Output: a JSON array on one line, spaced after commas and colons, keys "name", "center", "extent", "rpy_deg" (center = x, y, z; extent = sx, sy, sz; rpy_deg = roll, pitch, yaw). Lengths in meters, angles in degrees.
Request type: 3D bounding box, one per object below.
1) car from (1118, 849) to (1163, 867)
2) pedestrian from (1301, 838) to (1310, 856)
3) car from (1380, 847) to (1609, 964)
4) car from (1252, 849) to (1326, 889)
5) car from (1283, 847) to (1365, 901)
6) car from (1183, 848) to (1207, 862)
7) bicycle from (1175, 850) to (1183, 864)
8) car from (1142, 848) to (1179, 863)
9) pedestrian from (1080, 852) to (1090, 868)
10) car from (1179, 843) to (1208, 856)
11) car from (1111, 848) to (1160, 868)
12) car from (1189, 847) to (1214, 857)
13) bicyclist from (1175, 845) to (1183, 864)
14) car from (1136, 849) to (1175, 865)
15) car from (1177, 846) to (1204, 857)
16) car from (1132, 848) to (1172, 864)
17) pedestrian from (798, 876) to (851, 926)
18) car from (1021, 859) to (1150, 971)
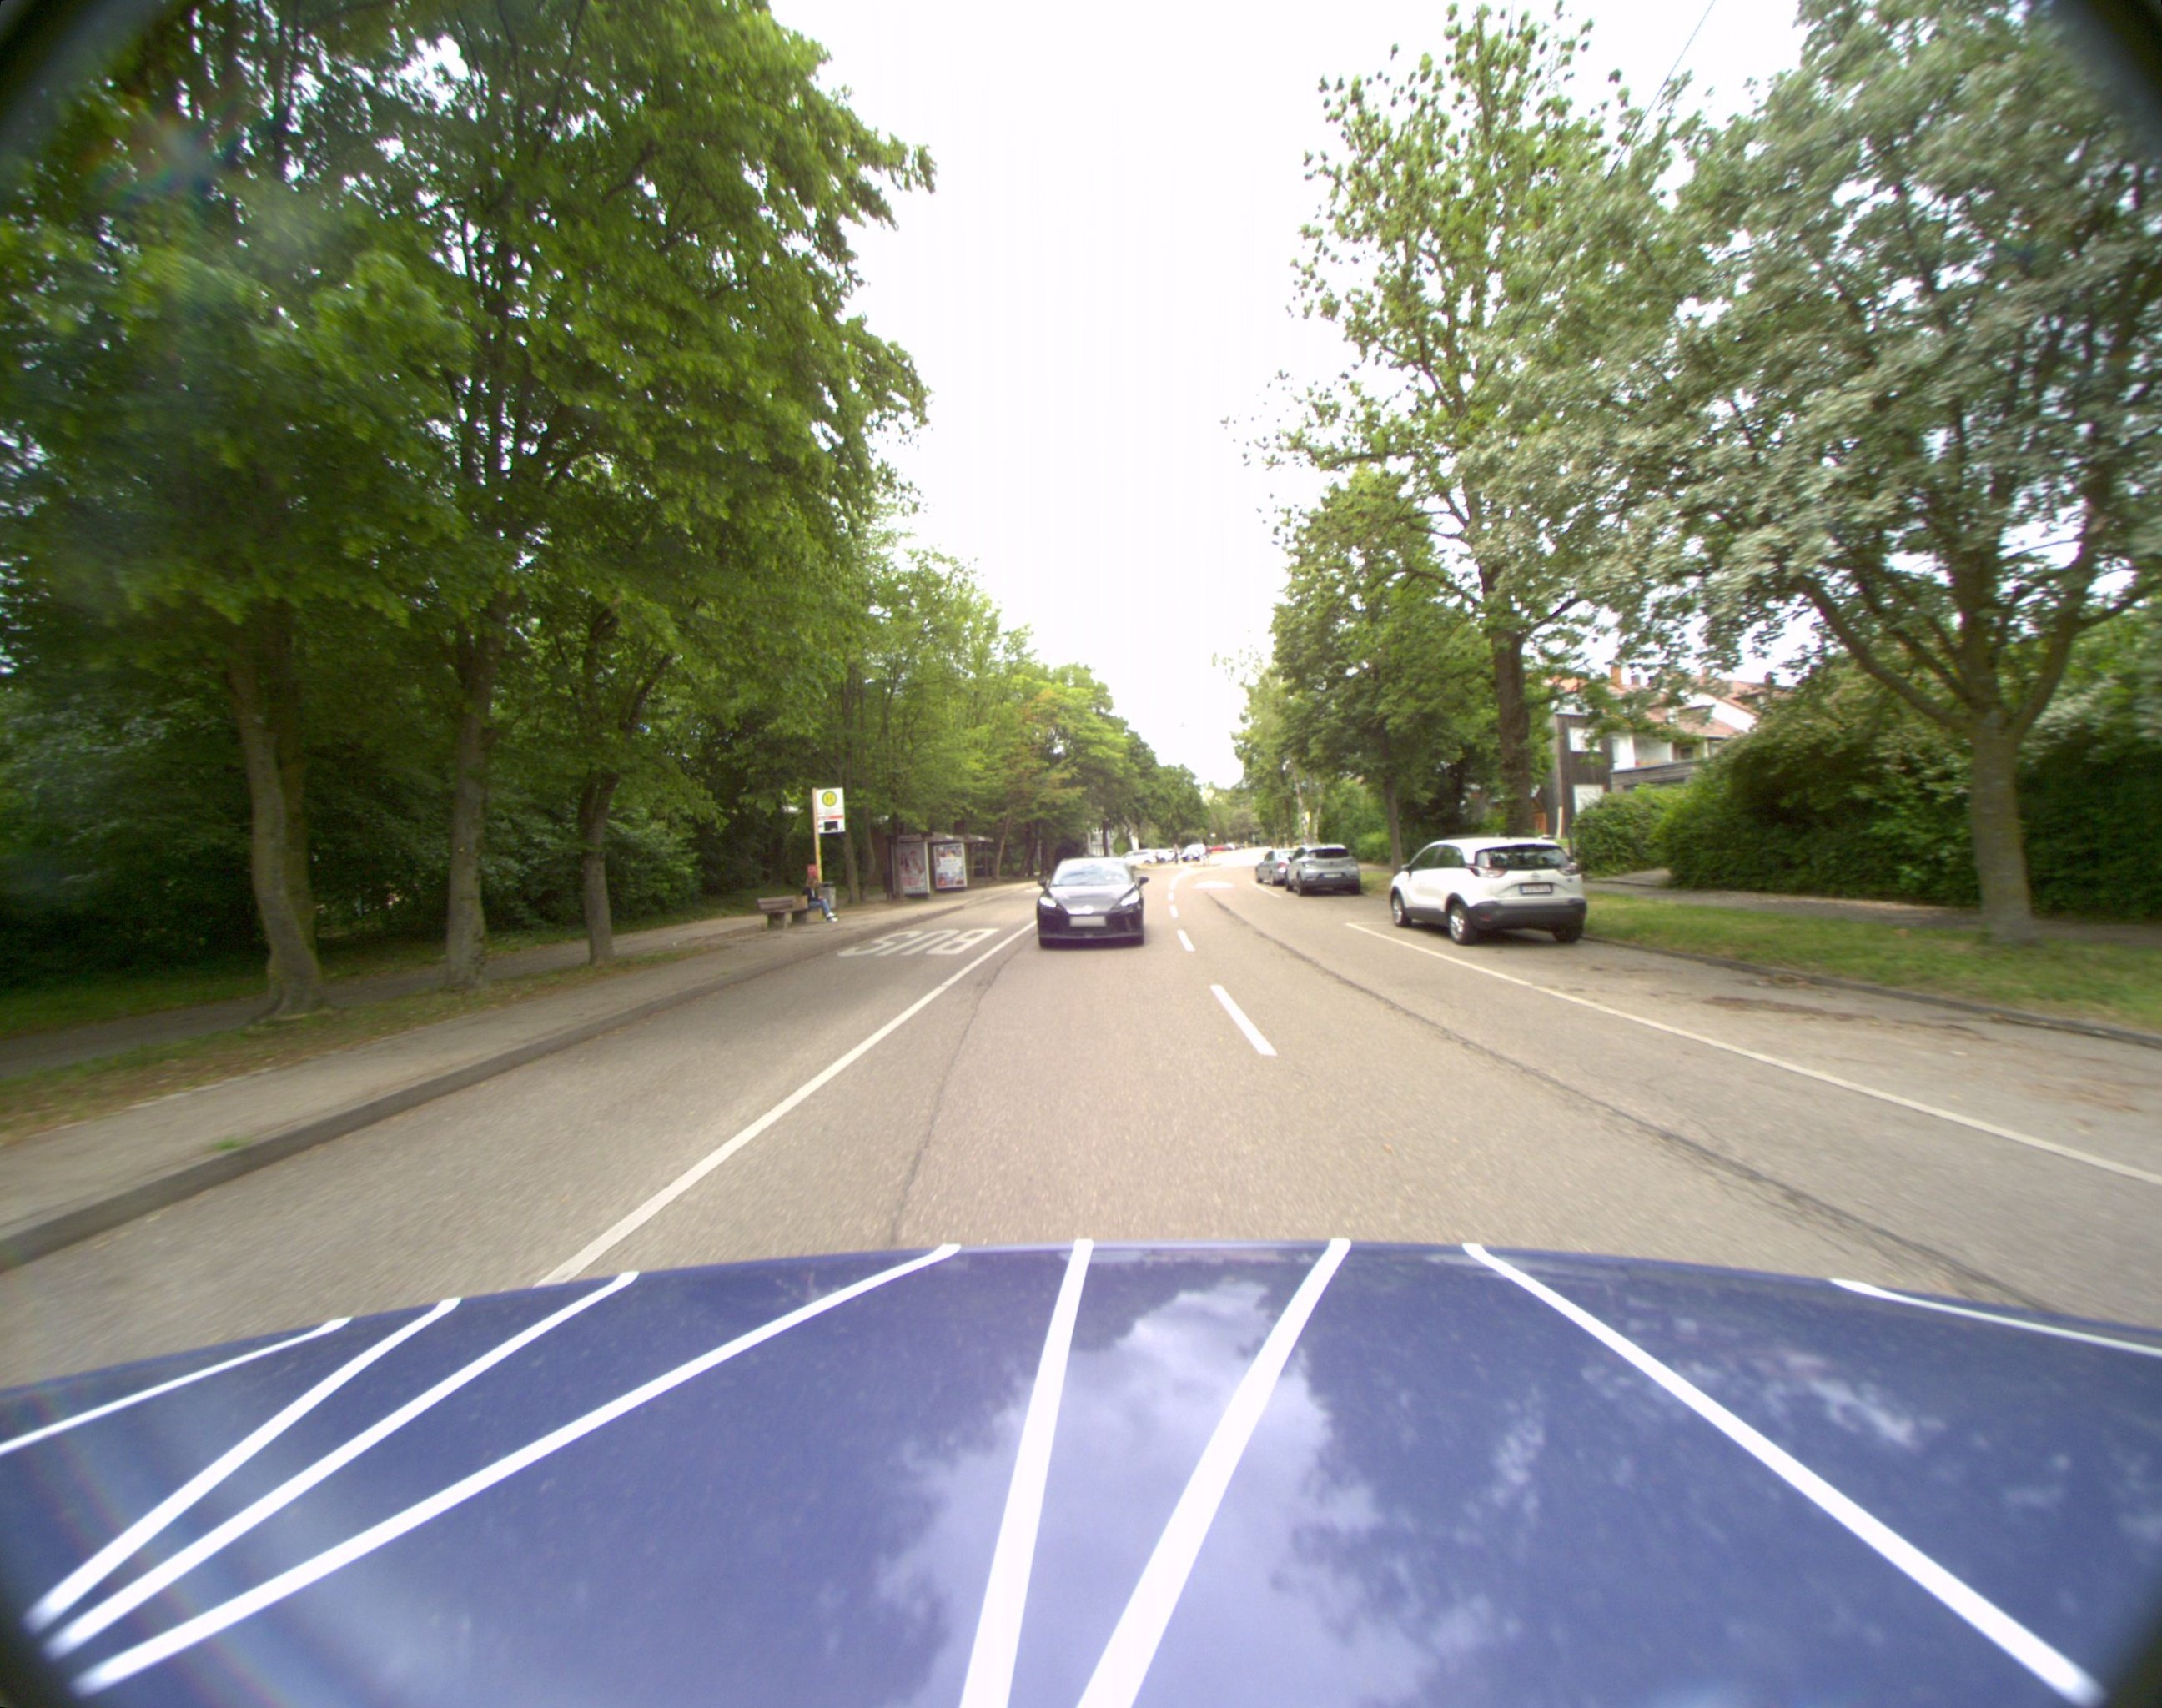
[{"name": "car", "center": [5.821, 0.405, 74.545], "extent": [4.144, 1.455, 1.798], "rpy_deg": [-5, 0, -2]}, {"name": "pedestrian", "center": [21.453, -0.673, 72.641], "extent": [0.693, 1.701, 0.778], "rpy_deg": [-4, 0, 8]}, {"name": "car", "center": [6.488, 0.705, 12.512], "extent": [1.739, 1.569, 4.142], "rpy_deg": [-2, 0, 4]}, {"name": "car", "center": [8.085, 0.548, 29.893], "extent": [1.740, 1.408, 4.472], "rpy_deg": [-2, 0, 1]}, {"name": "car", "center": [7.601, 0.579, 24.168], "extent": [1.739, 1.529, 4.191], "rpy_deg": [-2, 0, 7]}, {"name": "car", "center": [12.229, 0.072, 81.150], "extent": [1.859, 1.366, 4.081], "rpy_deg": [-4, 0, 18]}, {"name": "bicycle", "center": [9.233, 0.301, 71.916], "extent": [0.647, 1.230, 1.878], "rpy_deg": [-3, 0, 6]}, {"name": "car", "center": [9.651, 0.205, 92.689], "extent": [4.001, 1.455, 1.848], "rpy_deg": [-5, 0, -15]}, {"name": "pedestrian", "center": [0.456, 0.678, 81.056], "extent": [0.692, 1.634, 0.779], "rpy_deg": [-3, 1, 36]}, {"name": "car", "center": [18.063, -0.715, 121.884], "extent": [4.221, 1.748, 1.858], "rpy_deg": [-5, 0, -8]}, {"name": "car", "center": [5.228, 0.386, 72.584], "extent": [4.478, 1.576, 1.907], "rpy_deg": [-5, 0, 4]}, {"name": "car", "center": [20.160, -0.306, 127.174], "extent": [3.854, 1.426, 1.655], "rpy_deg": [-5, 0, 3]}, {"name": "bicyclist", "center": [9.226, 0.035, 71.886], "extent": [0.647, 1.769, 0.628], "rpy_deg": [-3, 1, 5]}, {"name": "car", "center": [8.553, 0.336, 87.512], "extent": [3.999, 1.455, 1.795], "rpy_deg": [-5, 0, -8]}, {"name": "car", "center": [17.114, -0.375, 118.858], "extent": [3.854, 1.430, 1.716], "rpy_deg": [-5, 0, 3]}, {"name": "car", "center": [7.941, 0.269, 84.931], "extent": [3.999, 1.455, 1.865], "rpy_deg": [-5, 0, -8]}, {"name": "pedestrian", "center": [-6.390, 1.159, 18.935], "extent": [1.066, 1.175, 0.580], "rpy_deg": [-3, 1, 2]}, {"name": "car", "center": [0.168, 0.909, 12.982], "extent": [1.812, 1.484, 3.794], "rpy_deg": [-3, 1, 3]}]
